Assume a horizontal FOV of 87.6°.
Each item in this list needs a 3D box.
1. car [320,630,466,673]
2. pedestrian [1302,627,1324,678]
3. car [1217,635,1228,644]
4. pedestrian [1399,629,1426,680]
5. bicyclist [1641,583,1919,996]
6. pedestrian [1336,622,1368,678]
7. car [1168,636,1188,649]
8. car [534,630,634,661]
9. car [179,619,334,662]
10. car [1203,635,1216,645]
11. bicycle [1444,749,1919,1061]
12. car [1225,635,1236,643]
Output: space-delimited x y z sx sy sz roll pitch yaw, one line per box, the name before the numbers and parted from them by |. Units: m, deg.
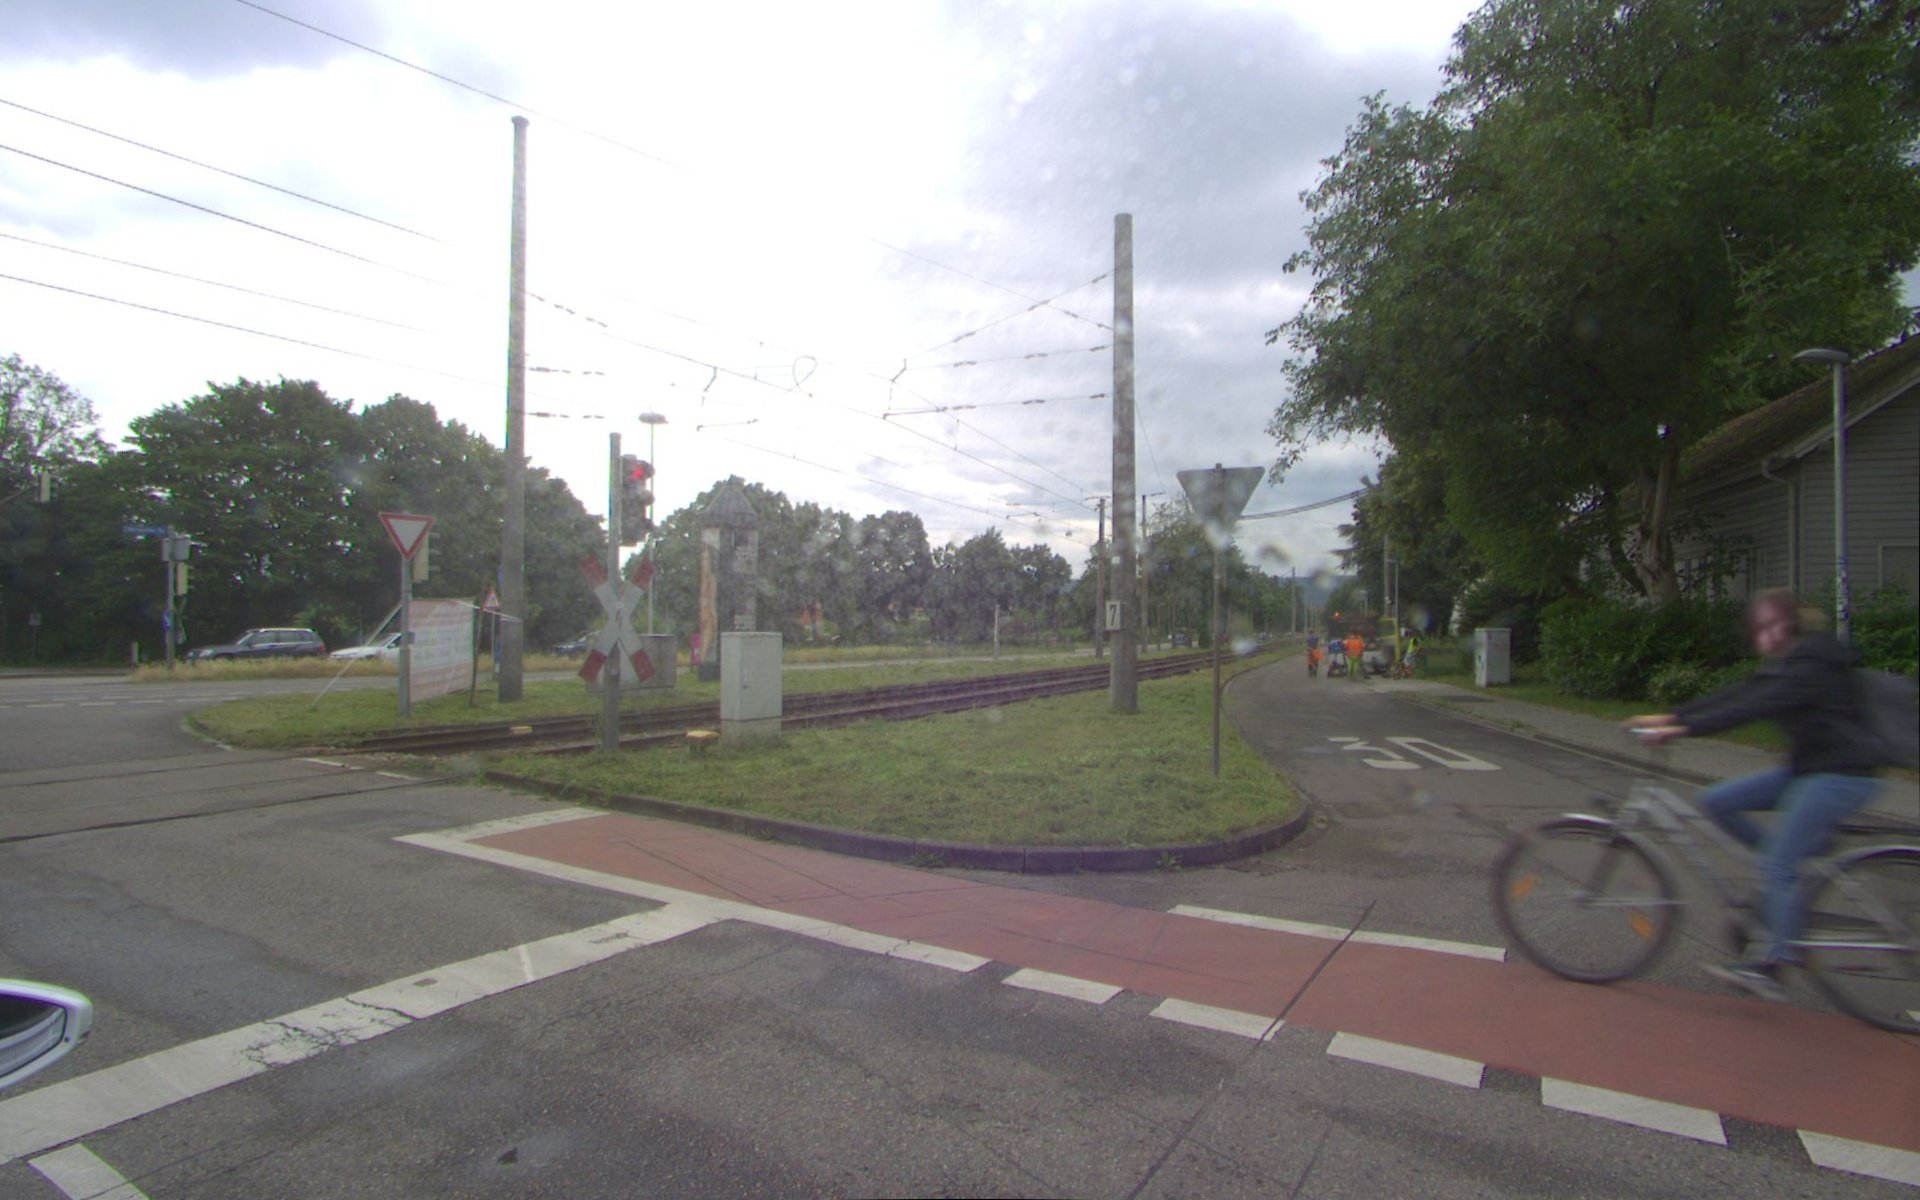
car | -19.649 1.769 34.862 1.624 1.374 4.129 0 -2 33
pedestrian | 13.125 1.949 37.234 0.757 1.892 0.604 0 -1 17
car | 47.121 7.102 179.764 1.963 1.460 3.997 -1 -2 16
pedestrian | 16.594 1.988 36.723 0.598 1.864 0.712 1 -1 -13
bicyclist | 3.289 0.695 3.952 0.947 1.441 0.621 -1 -5 32
pedestrian | 13.470 1.722 34.396 0.862 1.878 0.676 1 -1 34
car | 28.607 5.561 131.079 1.966 1.743 3.992 -1 -2 21
car | -18.641 2.256 49.816 1.820 1.458 4.456 0 -2 33
car | -26.494 1.527 37.869 1.820 1.523 4.456 0 -2 33
car | 40.006 6.419 160.486 1.963 1.460 3.997 -1 -2 16
bicycle | 3.091 1.179 4.060 2.001 0.993 0.382 -1 -2 32
car | 53.317 7.731 197.518 1.963 1.460 3.997 -1 -2 16
